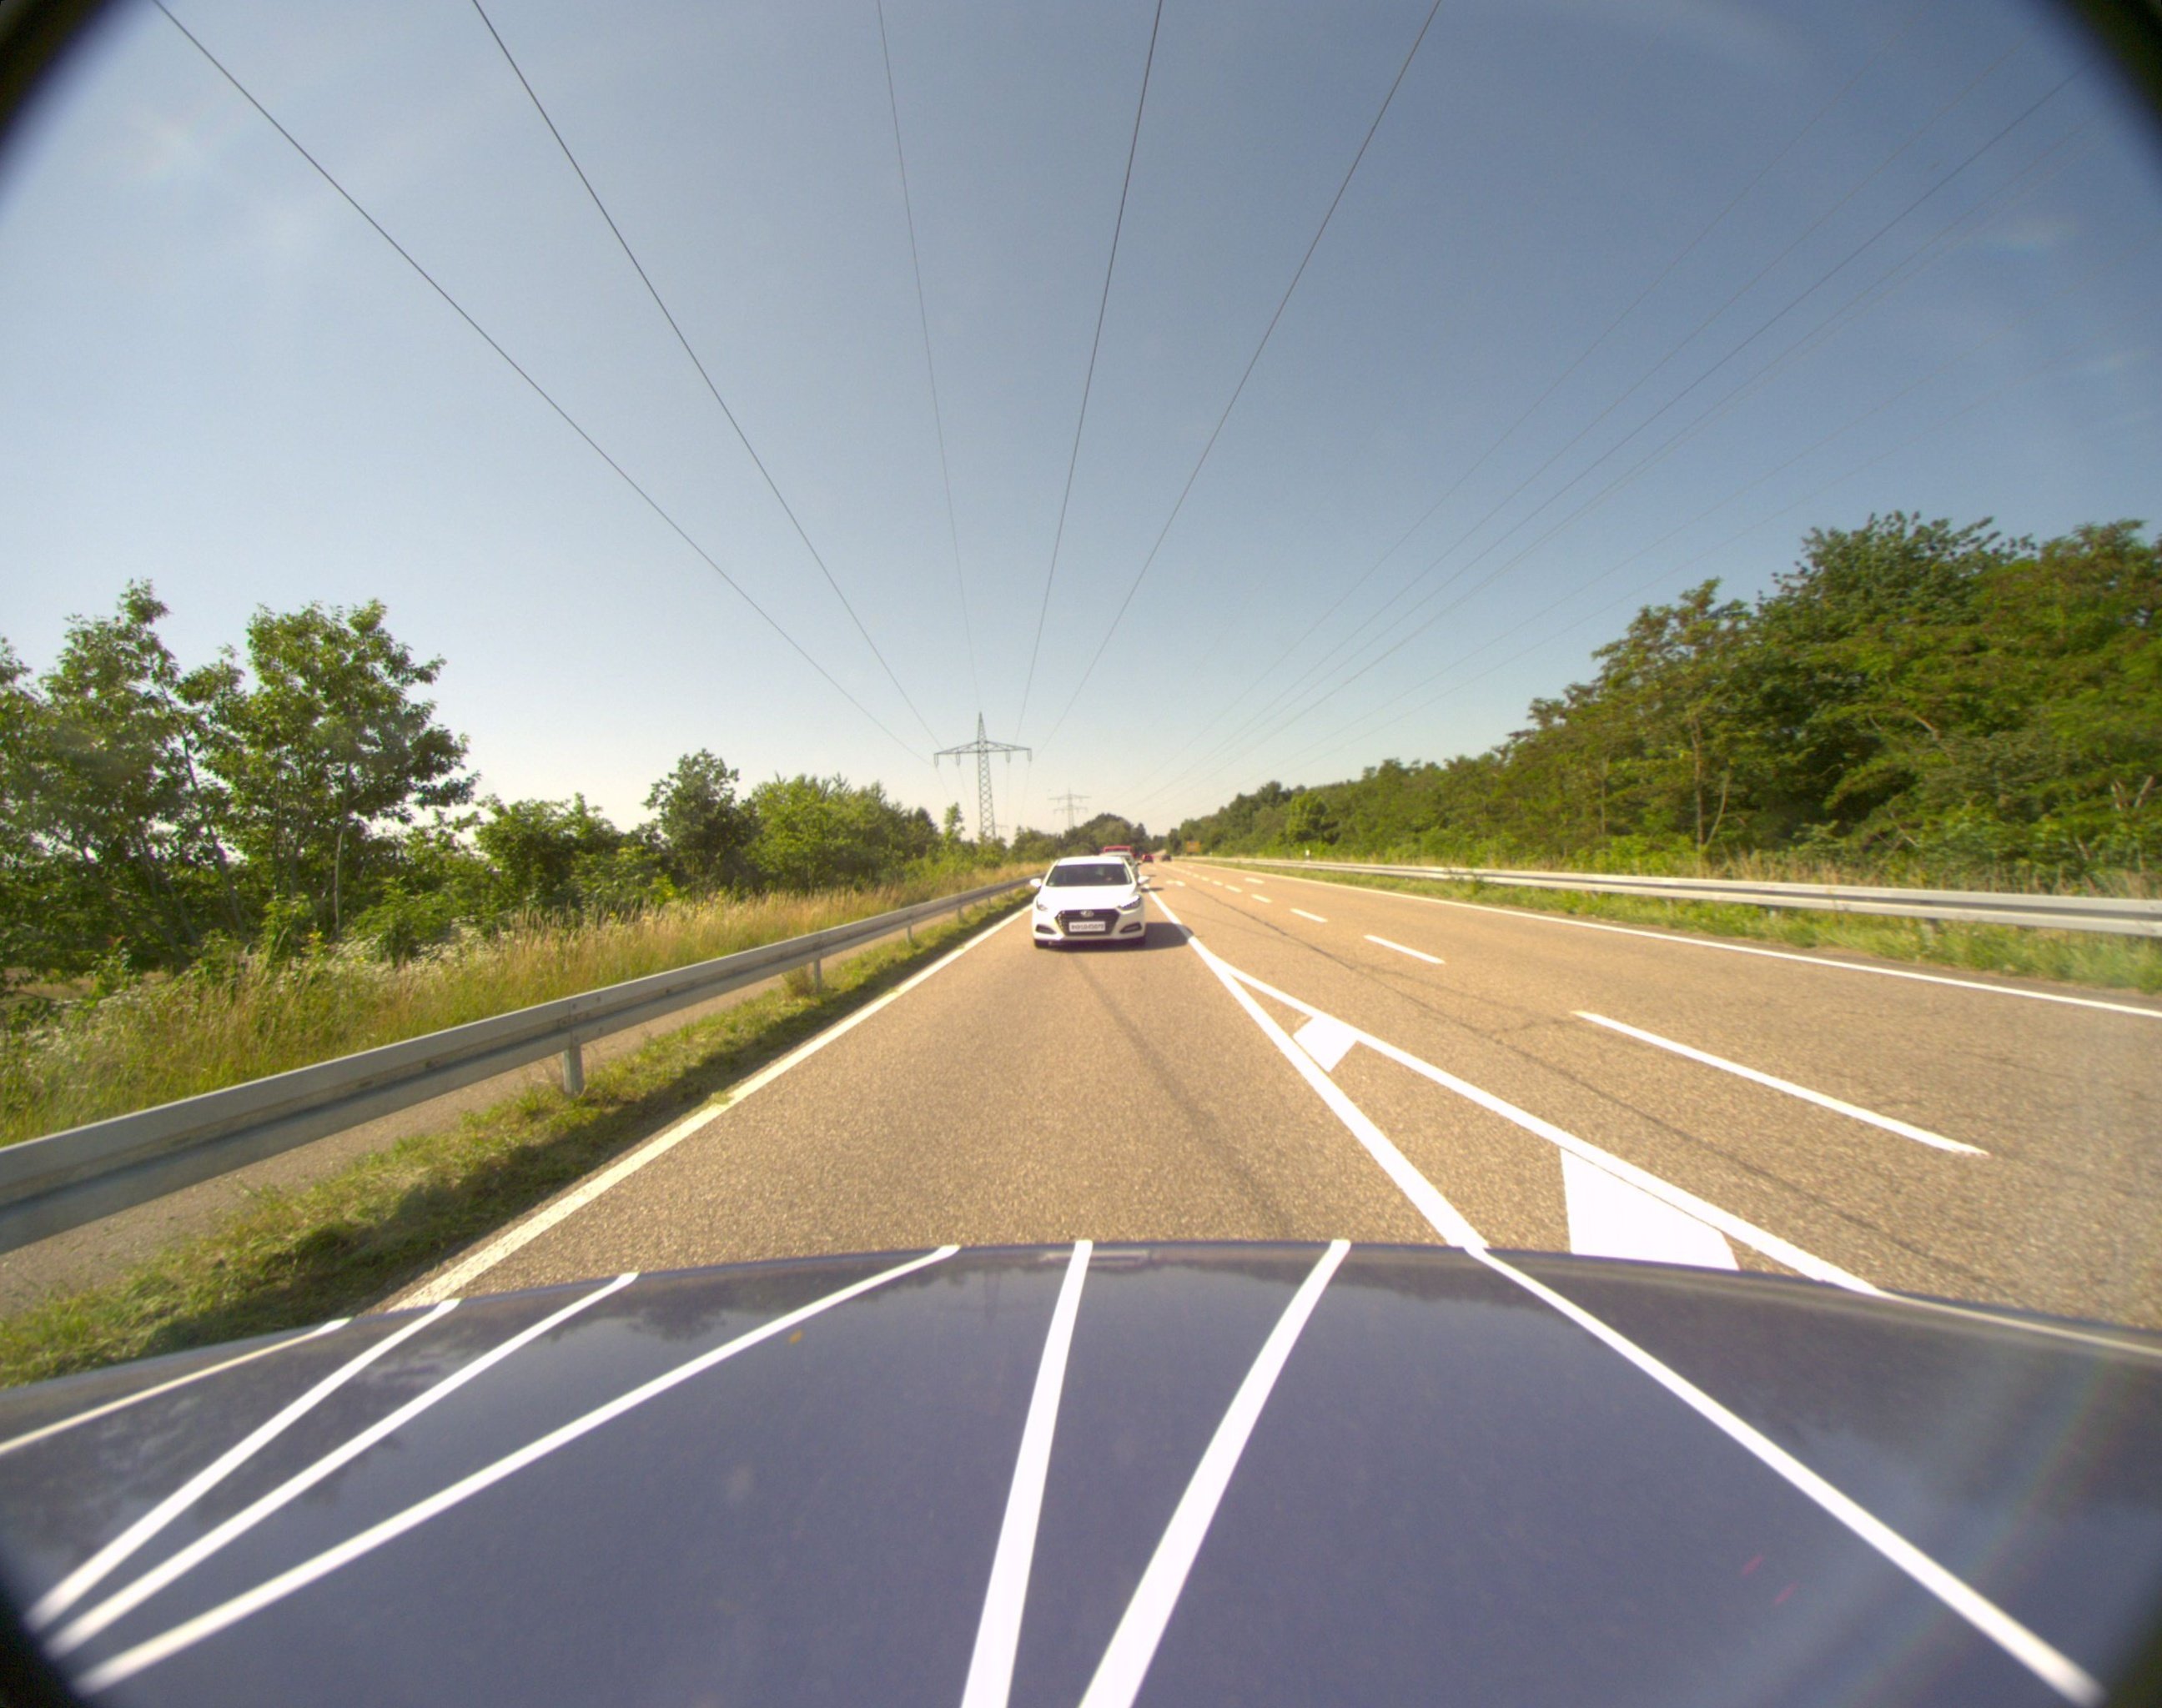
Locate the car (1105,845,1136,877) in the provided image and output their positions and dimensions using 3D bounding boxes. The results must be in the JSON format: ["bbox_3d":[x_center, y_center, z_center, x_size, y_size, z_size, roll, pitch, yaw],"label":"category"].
[{"bbox_3d":[2.554,0.398,49.435,1.794,1.893,4.838,-2,0,3],"label":"car"}]

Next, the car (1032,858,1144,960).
[{"bbox_3d":[0.227,0.857,13.837,1.683,1.472,4.474,-1,0,3],"label":"car"}]

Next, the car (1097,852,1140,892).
[{"bbox_3d":[1.468,0.674,30.156,1.548,1.460,3.661,-2,0,2],"label":"car"}]

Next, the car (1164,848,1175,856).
[{"bbox_3d":[16.793,-0.335,144.140,1.663,1.433,4.215,-2,0,3],"label":"car"}]

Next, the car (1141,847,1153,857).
[{"bbox_3d":[10.882,-0.299,125.030,1.731,1.482,4.423,-2,0,2],"label":"car"}]
